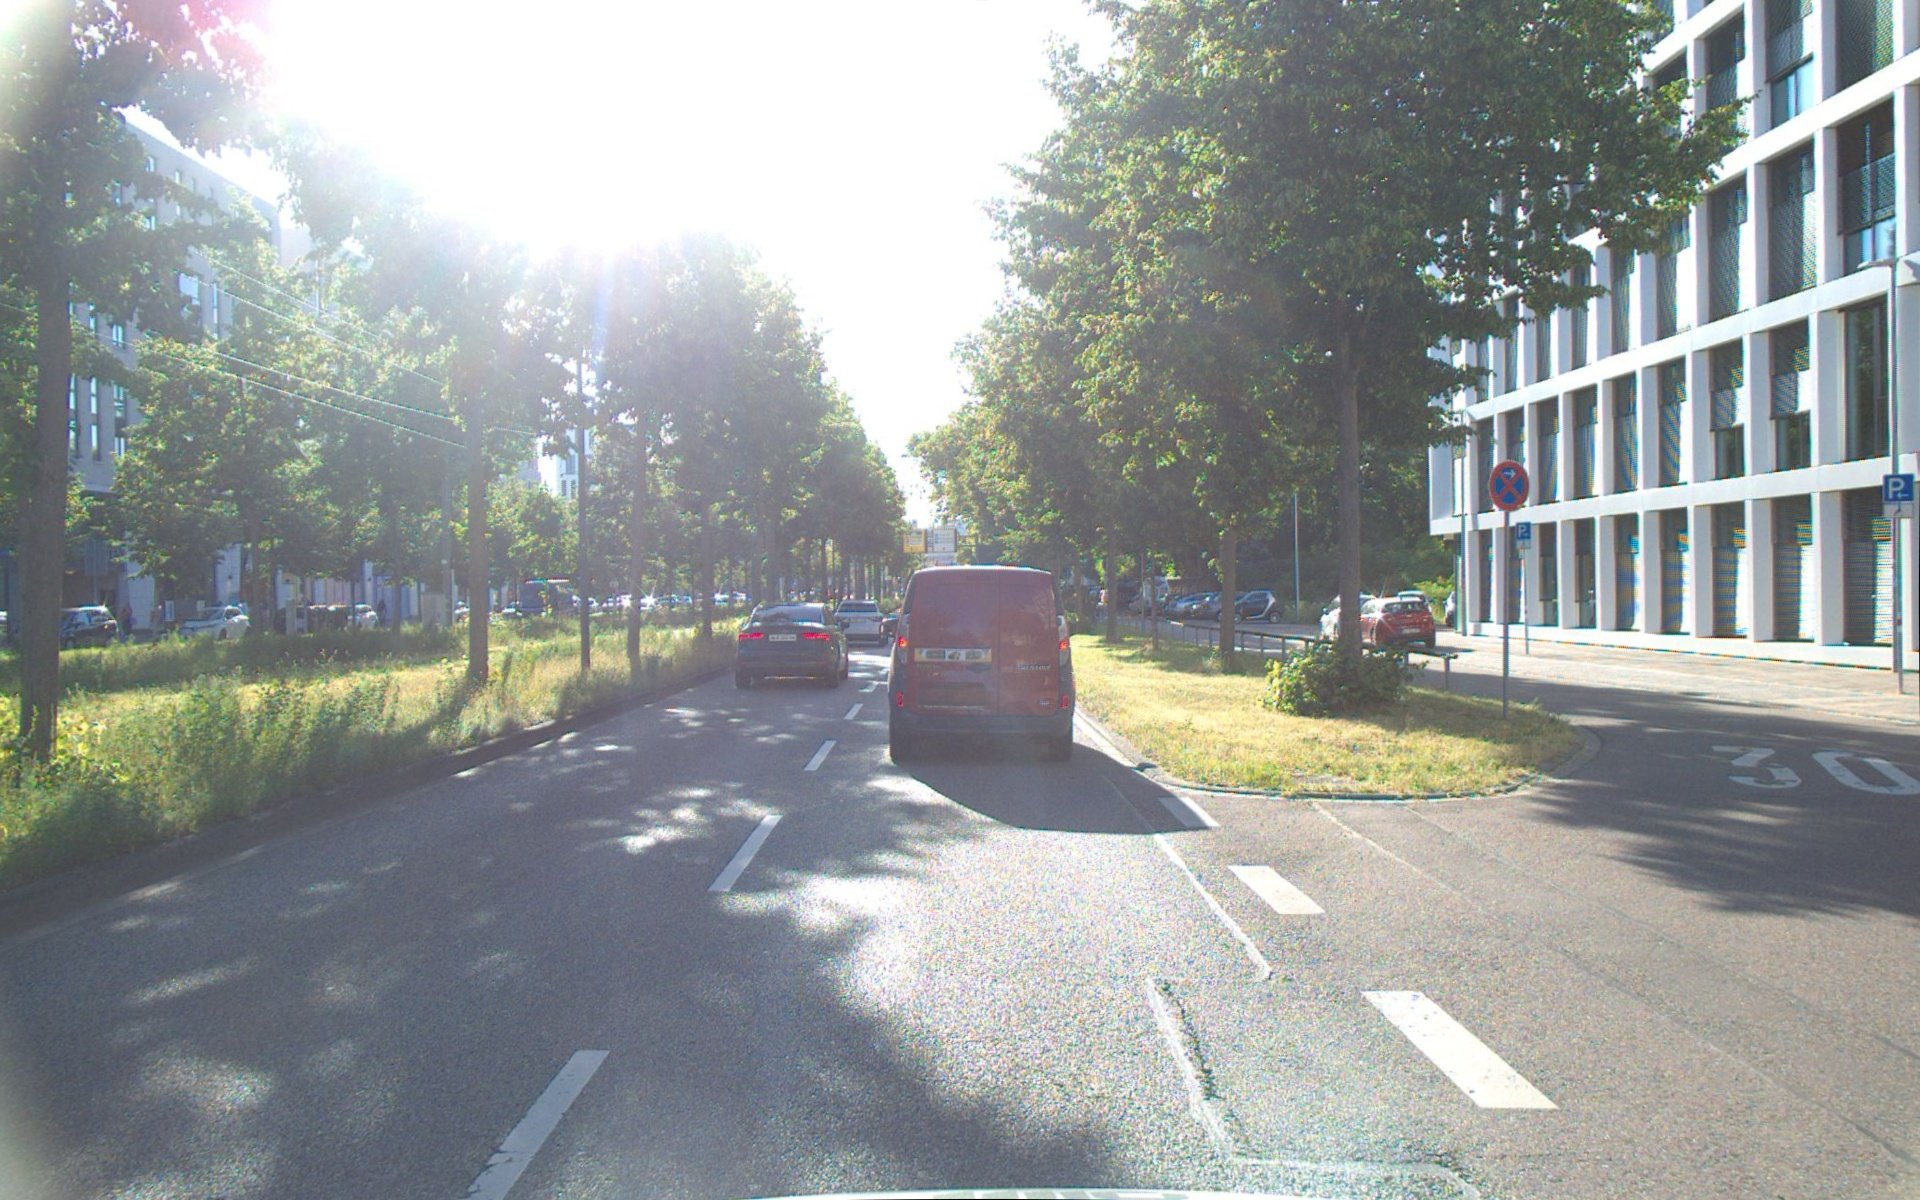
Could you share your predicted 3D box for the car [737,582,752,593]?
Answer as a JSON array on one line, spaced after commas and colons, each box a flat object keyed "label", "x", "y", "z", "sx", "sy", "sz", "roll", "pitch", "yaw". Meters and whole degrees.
[{"label": "car", "x": -31.302, "y": -1.793, "z": 240.019, "sx": 1.720, "sy": 1.601, "sz": 3.999, "roll": -1, "pitch": 0, "yaw": -1}]

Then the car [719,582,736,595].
[{"label": "car", "x": -30.947, "y": -1.507, "z": 220.161, "sx": 1.720, "sy": 1.601, "sz": 3.999, "roll": -1, "pitch": 0, "yaw": -1}]

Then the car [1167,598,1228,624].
[{"label": "car", "x": 13.303, "y": 0.619, "z": 92.827, "sx": 3.326, "sy": 1.382, "sz": 1.472, "roll": -1, "pitch": 0, "yaw": 6}]

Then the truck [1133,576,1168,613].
[{"label": "truck", "x": 13.735, "y": -0.394, "z": 119.518, "sx": 1.794, "sy": 2.544, "sz": 5.931, "roll": 0, "pitch": 0, "yaw": -1}]

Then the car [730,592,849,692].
[{"label": "car", "x": -2.869, "y": 0.665, "z": 28.609, "sx": 1.772, "sy": 1.554, "sz": 4.111, "roll": -1, "pitch": 0, "yaw": -2}]

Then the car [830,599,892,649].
[{"label": "car", "x": -3.077, "y": 0.723, "z": 51.834, "sx": 1.771, "sy": 1.459, "sz": 4.112, "roll": -1, "pitch": 0, "yaw": -1}]

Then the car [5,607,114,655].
[{"label": "car", "x": -31.161, "y": 1.064, "z": 57.361, "sx": 1.740, "sy": 1.555, "sz": 3.805, "roll": -1, "pitch": 0, "yaw": -1}]

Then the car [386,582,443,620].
[{"label": "car", "x": -30.126, "y": 0.025, "z": 91.438, "sx": 1.953, "sy": 2.049, "sz": 3.998, "roll": -1, "pitch": 0, "yaw": -2}]

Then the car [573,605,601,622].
[{"label": "car", "x": -31.885, "y": 1.119, "z": 141.437, "sx": 1.548, "sy": 1.366, "sz": 3.711, "roll": -1, "pitch": 0, "yaw": -1}]

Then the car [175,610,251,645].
[{"label": "car", "x": -31.394, "y": 1.150, "z": 69.588, "sx": 1.548, "sy": 1.366, "sz": 3.711, "roll": -1, "pitch": 0, "yaw": -1}]

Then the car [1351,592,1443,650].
[{"label": "car", "x": 12.837, "y": 0.588, "z": 48.790, "sx": 1.722, "sy": 1.640, "sz": 3.904, "roll": -1, "pitch": 0, "yaw": 1}]

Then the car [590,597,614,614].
[{"label": "car", "x": -38.730, "y": 0.595, "z": 178.977, "sx": 1.697, "sy": 1.803, "sz": 3.999, "roll": -1, "pitch": 0, "yaw": -1}]

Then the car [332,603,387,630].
[{"label": "car", "x": -31.188, "y": 0.843, "z": 85.986, "sx": 1.548, "sy": 1.366, "sz": 3.711, "roll": -1, "pitch": 0, "yaw": -1}]

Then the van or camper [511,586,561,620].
[{"label": "van or camper", "x": -22.842, "y": 0.134, "z": 89.273, "sx": 1.783, "sy": 1.768, "sz": 3.711, "roll": -1, "pitch": 0, "yaw": -1}]

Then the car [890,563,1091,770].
[{"label": "car", "x": 0.214, "y": 0.569, "z": 16.744, "sx": 1.771, "sy": 1.825, "sz": 4.112, "roll": 1, "pitch": 1, "yaw": -2}]

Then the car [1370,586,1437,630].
[{"label": "car", "x": 19.490, "y": 0.342, "z": 72.811, "sx": 1.952, "sy": 1.847, "sz": 4.000, "roll": 0, "pitch": 0, "yaw": 1}]

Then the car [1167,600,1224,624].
[{"label": "car", "x": 14.121, "y": 0.738, "z": 99.382, "sx": 3.326, "sy": 1.382, "sz": 1.472, "roll": -1, "pitch": 0, "yaw": 6}]

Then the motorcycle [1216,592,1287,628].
[{"label": "motorcycle", "x": 14.136, "y": 0.461, "z": 80.319, "sx": 3.326, "sy": 1.692, "sz": 1.472, "roll": -1, "pitch": 0, "yaw": 6}]

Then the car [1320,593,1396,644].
[{"label": "car", "x": 12.903, "y": 0.575, "z": 53.730, "sx": 1.781, "sy": 1.559, "sz": 3.438, "roll": -1, "pitch": 0, "yaw": 3}]

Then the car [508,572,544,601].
[{"label": "car", "x": -31.256, "y": -1.011, "z": 119.190, "sx": 1.694, "sy": 2.049, "sz": 3.998, "roll": -1, "pitch": 1, "yaw": -3}]

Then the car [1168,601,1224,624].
[{"label": "car", "x": 14.485, "y": 0.751, "z": 101.728, "sx": 3.326, "sy": 1.382, "sz": 1.472, "roll": -1, "pitch": 0, "yaw": 6}]

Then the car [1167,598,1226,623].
[{"label": "car", "x": 13.793, "y": 0.615, "z": 96.646, "sx": 3.326, "sy": 1.382, "sz": 1.472, "roll": -1, "pitch": 0, "yaw": 6}]

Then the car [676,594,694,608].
[{"label": "car", "x": -33.181, "y": 0.118, "z": 199.784, "sx": 1.569, "sy": 1.583, "sz": 3.999, "roll": -1, "pitch": 0, "yaw": -1}]

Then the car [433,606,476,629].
[{"label": "car", "x": -31.530, "y": 1.104, "z": 103.265, "sx": 1.548, "sy": 1.366, "sz": 3.711, "roll": -1, "pitch": 0, "yaw": -1}]

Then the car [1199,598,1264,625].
[{"label": "car", "x": 14.423, "y": 0.613, "z": 88.027, "sx": 3.326, "sy": 1.382, "sz": 1.472, "roll": -1, "pitch": 0, "yaw": 6}]
